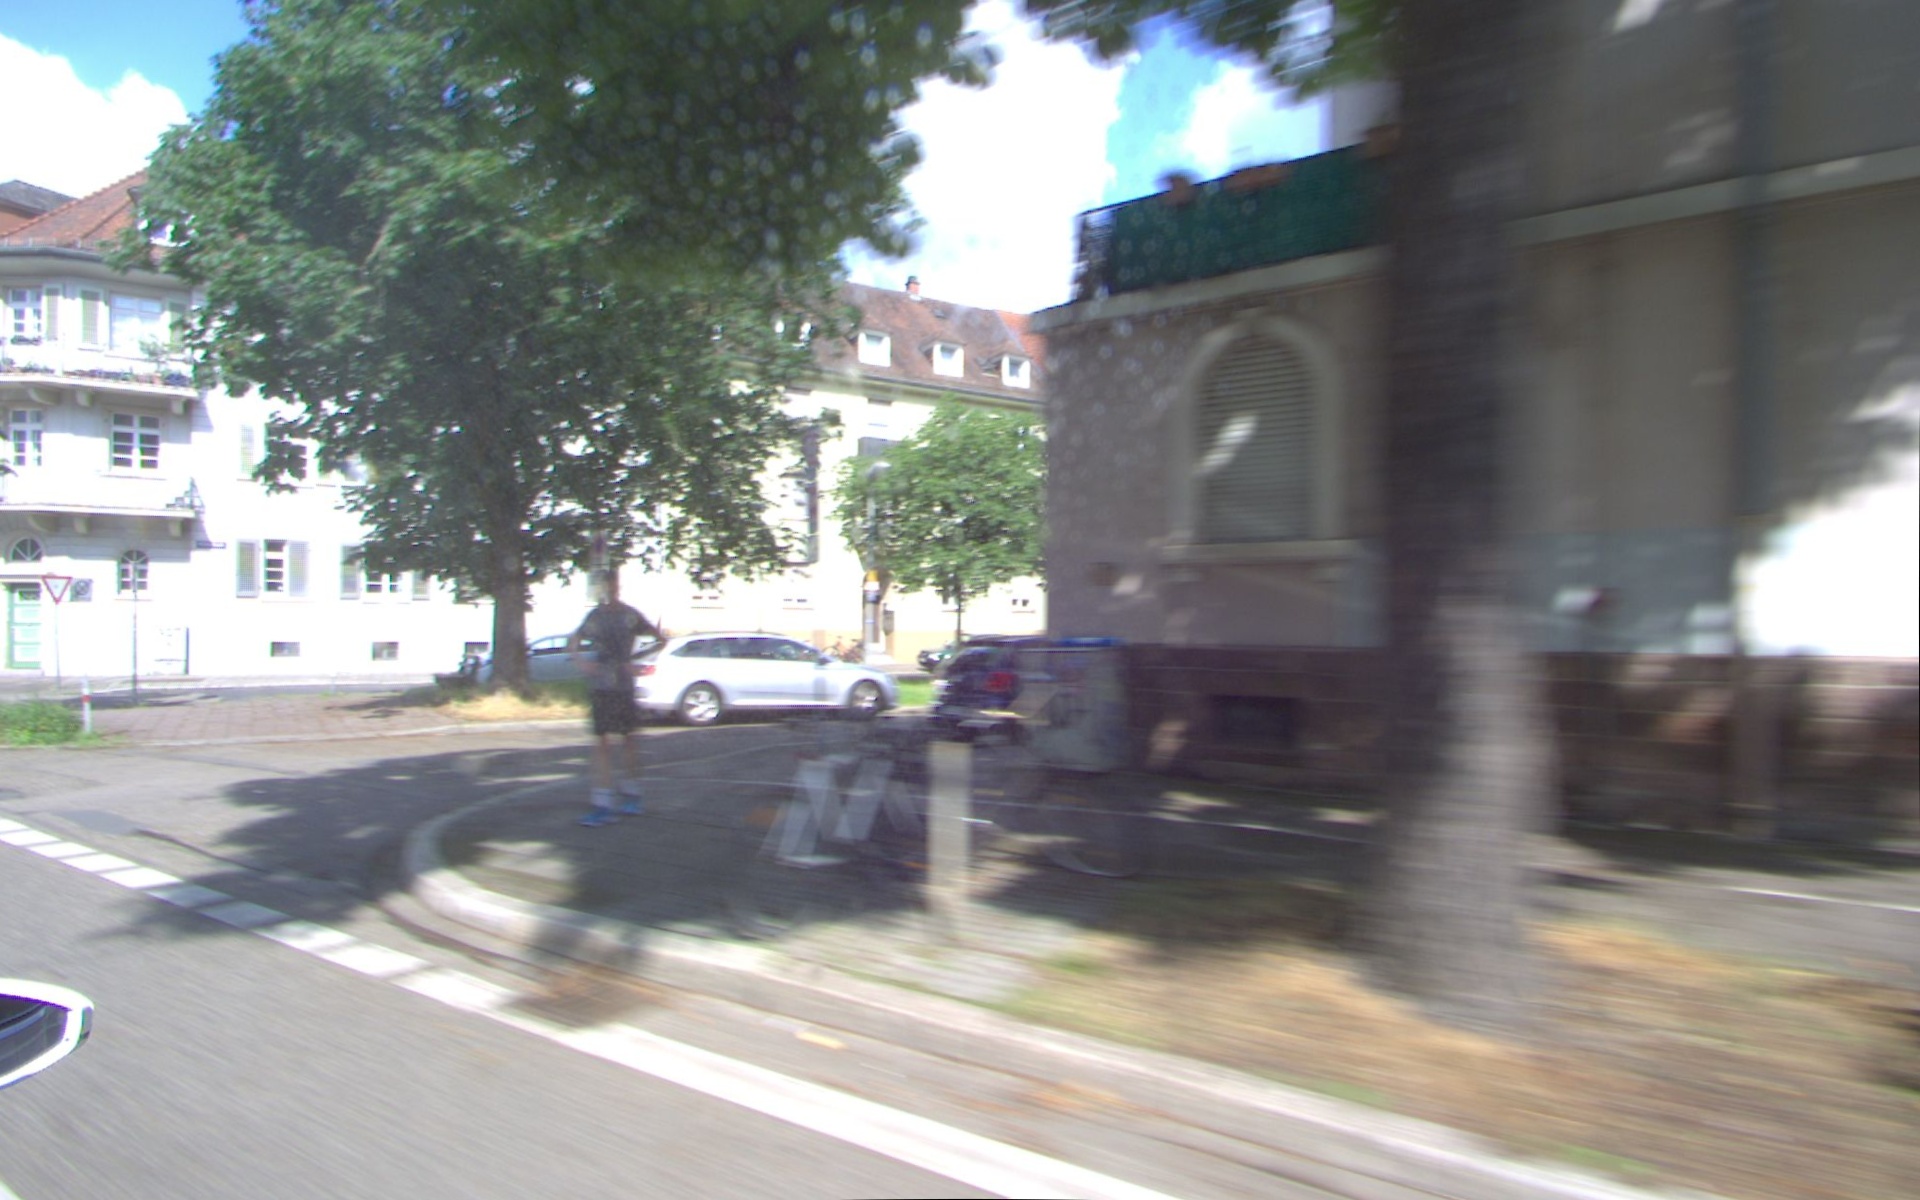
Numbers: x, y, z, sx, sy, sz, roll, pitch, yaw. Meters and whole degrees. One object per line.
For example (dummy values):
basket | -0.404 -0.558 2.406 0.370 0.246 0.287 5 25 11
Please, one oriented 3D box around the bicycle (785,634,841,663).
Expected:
bicycle | -5.512 1.825 37.619 2.107 1.047 0.533 2 -1 -36

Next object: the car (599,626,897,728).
car | -3.468 1.220 16.644 4.510 1.494 1.859 2 -3 -31

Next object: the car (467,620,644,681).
car | -10.176 1.259 25.252 3.943 1.428 1.644 1 -3 -30

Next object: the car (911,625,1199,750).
car | 1.290 1.077 13.134 3.519 1.424 1.698 2 -3 -35

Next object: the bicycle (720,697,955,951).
bicycle | -0.551 1.036 5.019 0.255 0.996 1.487 0 -1 34

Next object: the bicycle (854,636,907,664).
bicycle | -3.077 1.944 39.044 2.107 1.047 0.533 1 -1 -36

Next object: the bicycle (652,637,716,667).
bicycle | -9.675 1.815 35.112 2.107 1.047 0.533 2 -1 -36

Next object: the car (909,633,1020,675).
car | 0.175 1.986 37.358 3.813 1.373 1.688 2 2 -30

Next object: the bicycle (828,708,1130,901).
bicycle | 0.071 1.106 5.638 1.743 0.912 0.258 -1 -1 24

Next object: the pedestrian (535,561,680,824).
pedestrian | -2.666 0.676 7.580 0.866 1.859 0.609 -2 -2 30
